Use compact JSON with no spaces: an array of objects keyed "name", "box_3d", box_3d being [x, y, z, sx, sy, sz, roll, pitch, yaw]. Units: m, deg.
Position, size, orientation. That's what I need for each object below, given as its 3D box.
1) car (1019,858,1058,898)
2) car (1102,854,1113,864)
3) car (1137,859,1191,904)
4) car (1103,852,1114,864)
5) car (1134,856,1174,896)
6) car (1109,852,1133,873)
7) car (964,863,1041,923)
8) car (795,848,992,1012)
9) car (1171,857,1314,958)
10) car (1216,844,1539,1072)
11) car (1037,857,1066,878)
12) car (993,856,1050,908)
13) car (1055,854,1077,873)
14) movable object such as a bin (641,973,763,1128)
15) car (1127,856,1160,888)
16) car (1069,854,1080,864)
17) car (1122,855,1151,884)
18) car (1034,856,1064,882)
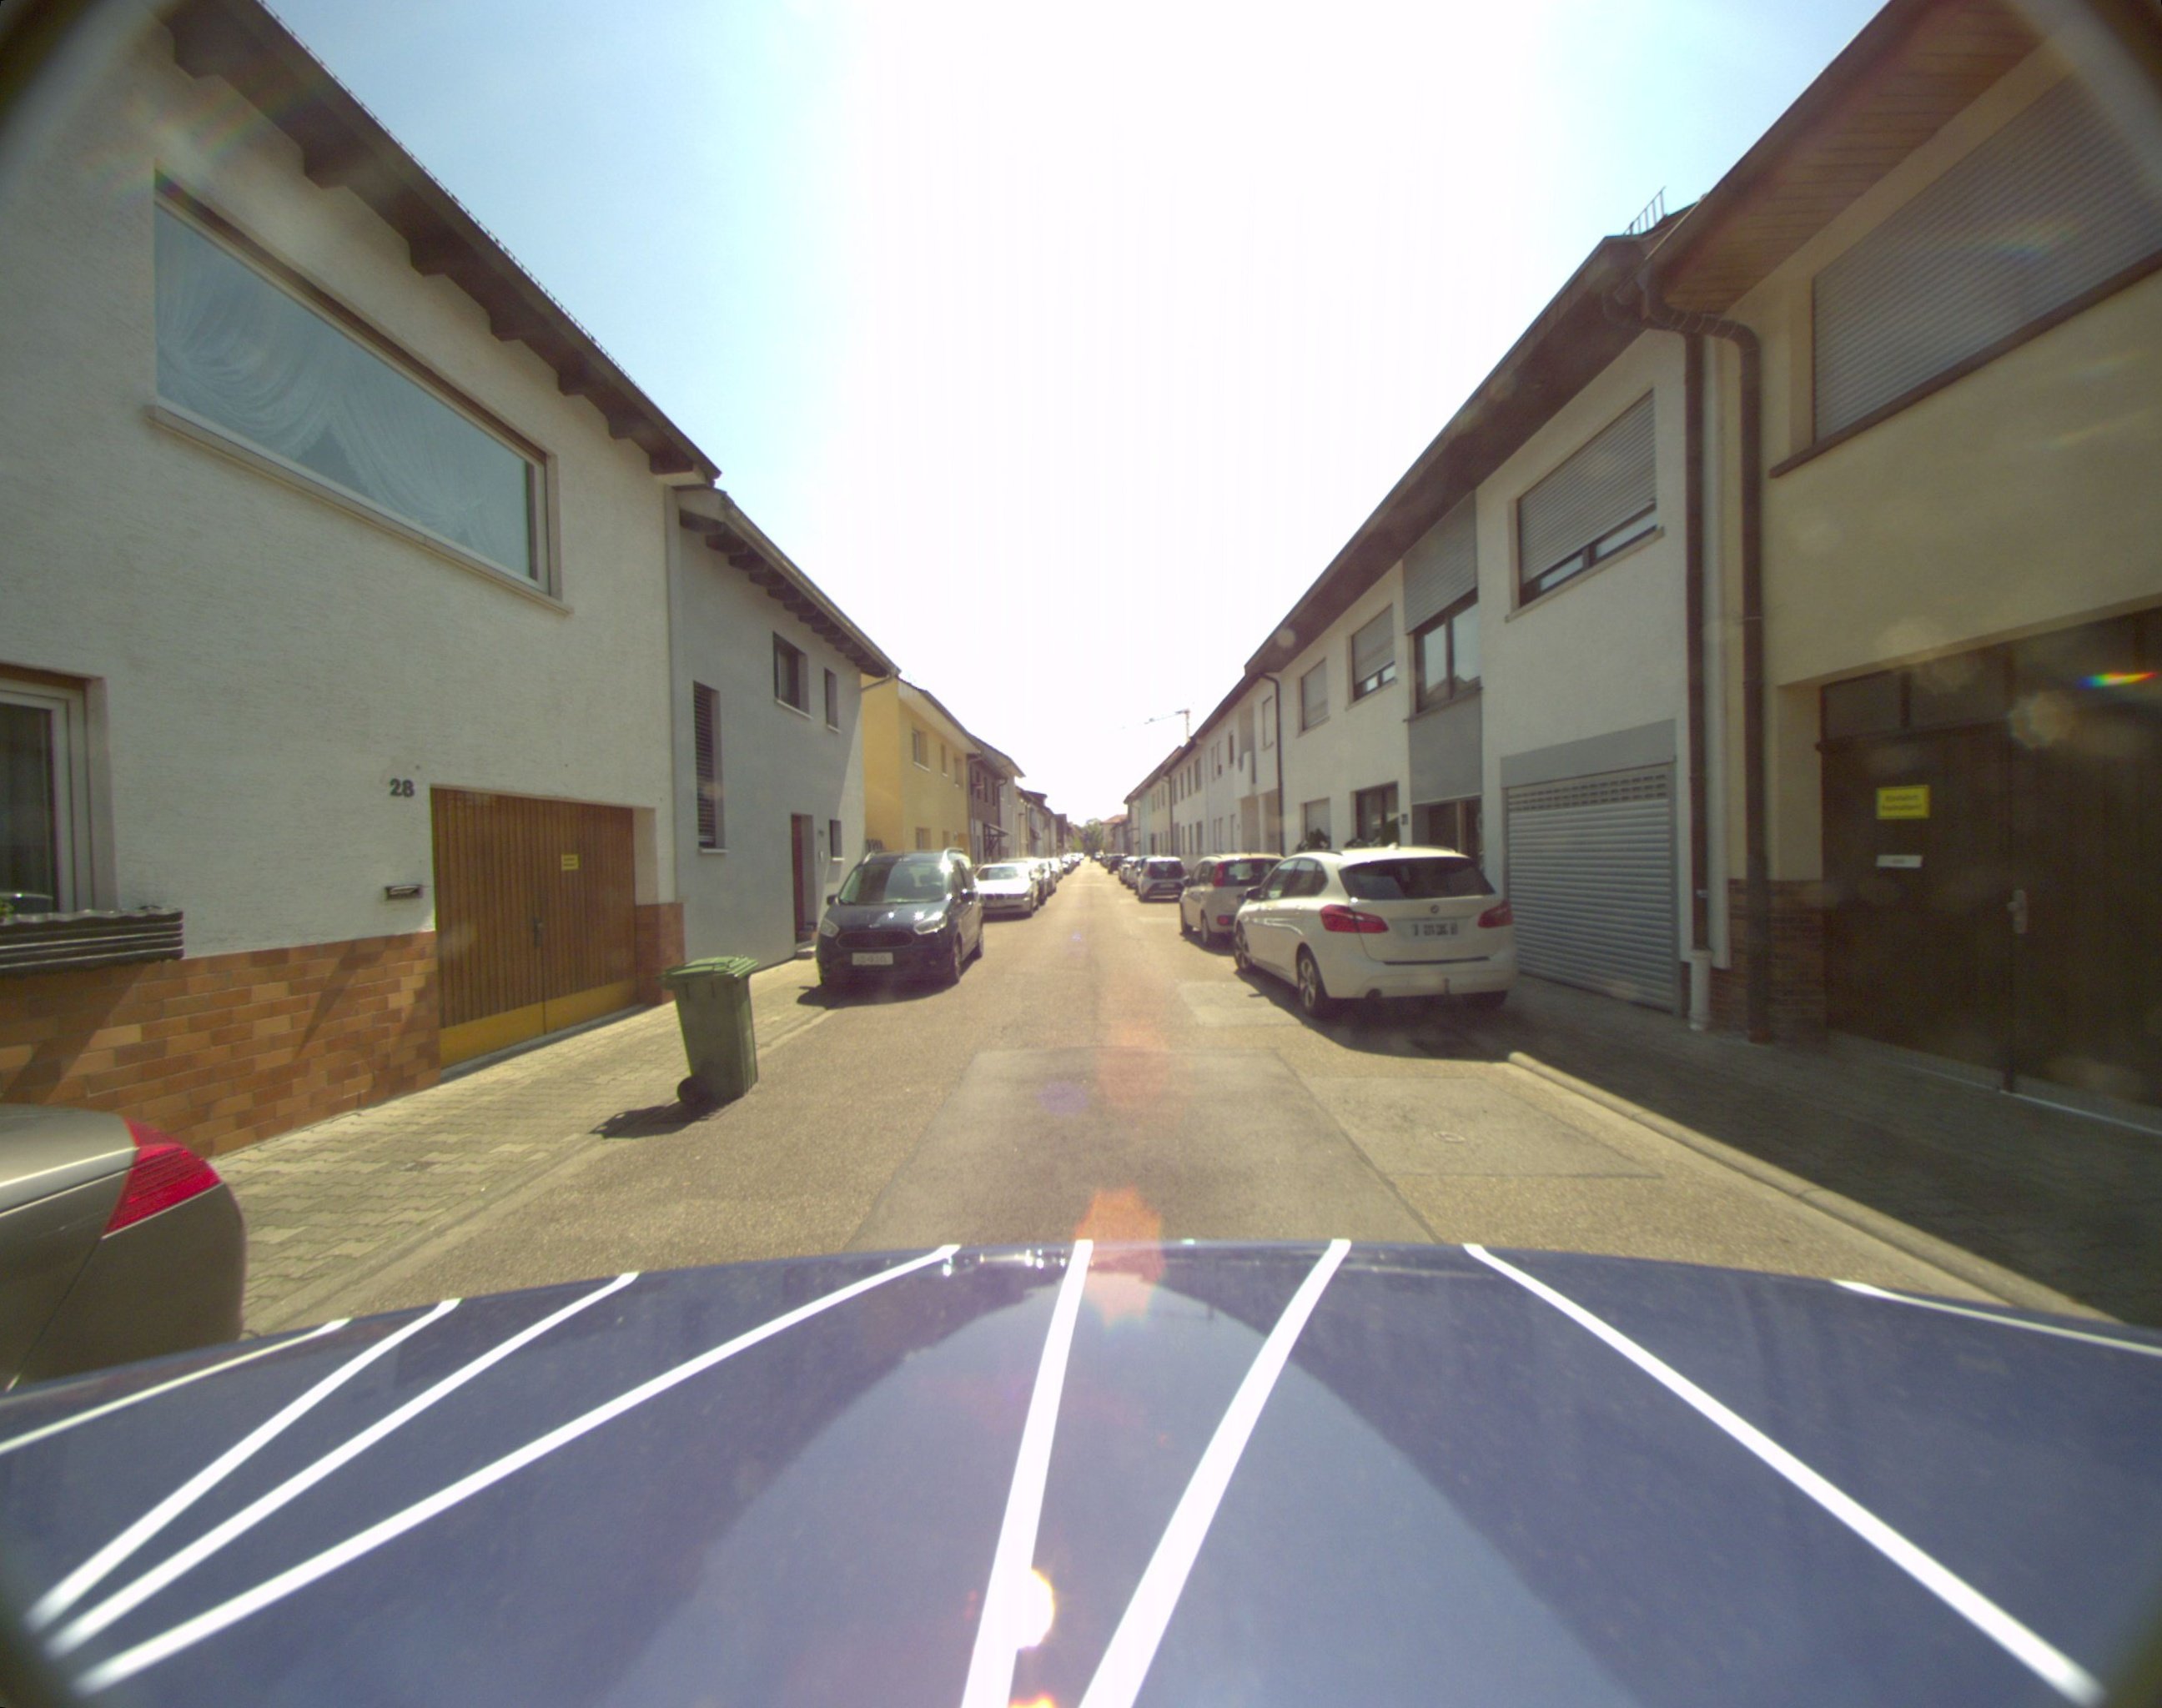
[{"name":"car","box_3d":[-1.759,0.967,32.131,1.403,1.518,3.398,-3,1,0]},{"name":"car","box_3d":[3.888,0.692,111.693,1.414,1.389,3.323,-1,1,1]},{"name":"car","box_3d":[2.813,0.894,26.208,1.606,1.434,3.214,-1,0,2]},{"name":"car","box_3d":[3.691,0.541,103.836,1.414,1.582,3.323,-1,1,1]},{"name":"car","box_3d":[2.944,0.853,31.047,1.414,1.519,3.025,-1,1,2]},{"name":"car","box_3d":[3.321,0.687,63.405,1.818,1.598,3.887,-1,1,0]},{"name":"car","box_3d":[-2.069,1.005,21.122,1.666,1.406,4.248,-1,0,1]},{"name":"car","box_3d":[-2.380,0.856,10.767,1.701,1.767,4.198,-1,1,0]},{"name":"car","box_3d":[2.736,0.837,13.688,1.667,1.532,3.687,-1,0,-2]},{"name":"car","box_3d":[2.775,0.823,8.136,1.667,1.540,3.939,-7,3,-2]},{"name":"car","box_3d":[-2.030,0.924,53.700,1.761,1.351,4.045,-3,0,1]},{"name":"car","box_3d":[-1.997,0.896,26.385,1.684,1.575,3.961,-2,1,-1]},{"name":"car","box_3d":[-1.324,0.834,66.605,1.736,1.502,3.623,-3,1,1]},{"name":"movable object such as a bin","box_3d":[-2.591,1.326,5.250,0.551,0.886,0.579,-2,1,-6]},{"name":"car","box_3d":[2.942,0.823,36.246,1.414,1.446,3.462,-1,1,2]},{"name":"car","box_3d":[-0.906,0.663,101.991,1.414,1.389,3.323,-1,1,1]},{"name":"car","box_3d":[2.997,0.818,41.732,1.414,1.446,3.543,-1,1,2]},{"name":"car","box_3d":[-1.993,0.942,48.376,1.743,1.460,4.045,-3,1,0]}]
